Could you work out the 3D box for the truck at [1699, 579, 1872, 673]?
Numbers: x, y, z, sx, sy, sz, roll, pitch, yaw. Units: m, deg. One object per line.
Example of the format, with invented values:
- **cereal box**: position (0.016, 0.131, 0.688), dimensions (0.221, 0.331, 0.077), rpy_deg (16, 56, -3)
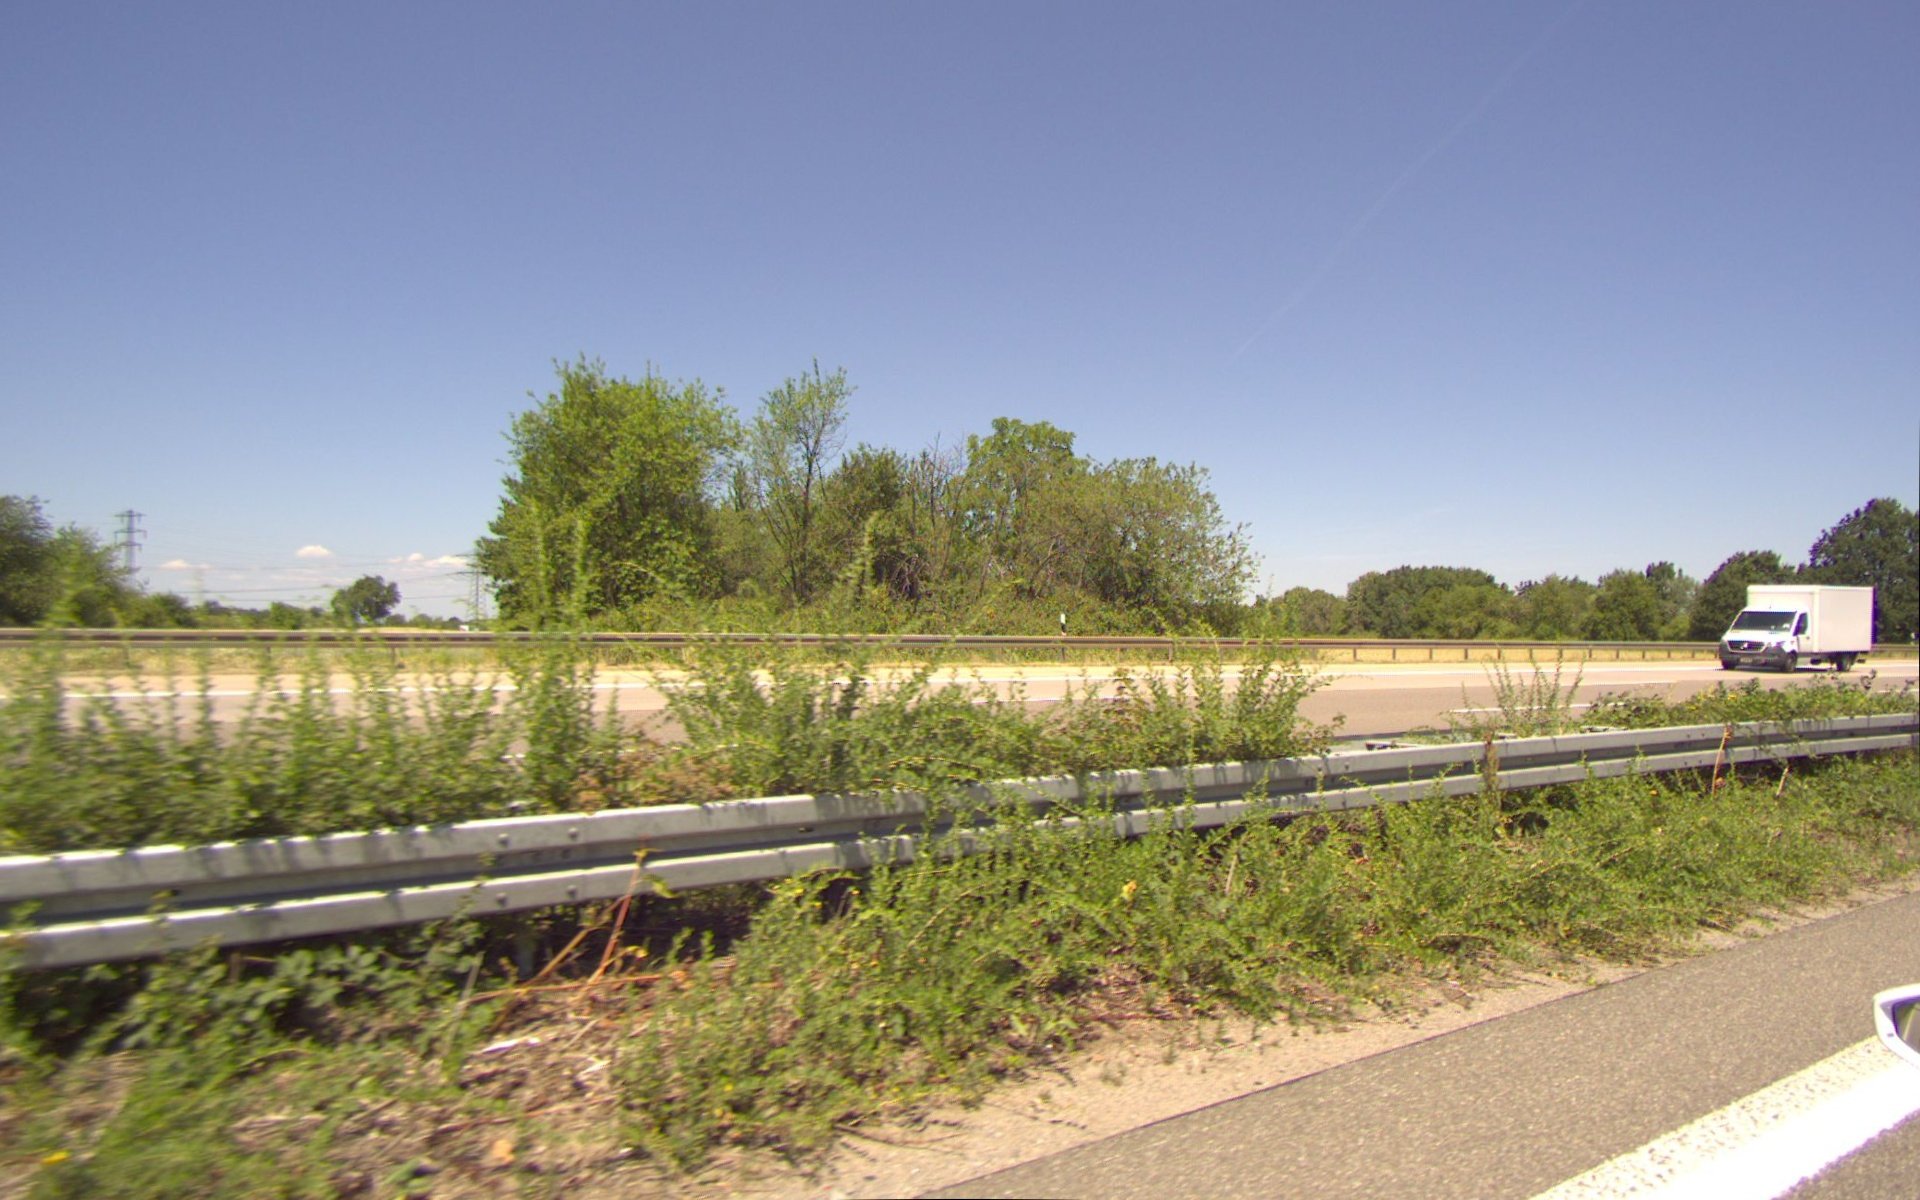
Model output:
- **truck**: position (29.835, 0.952, 36.223), dimensions (6.905, 3.140, 2.441), rpy_deg (2, -1, -29)
